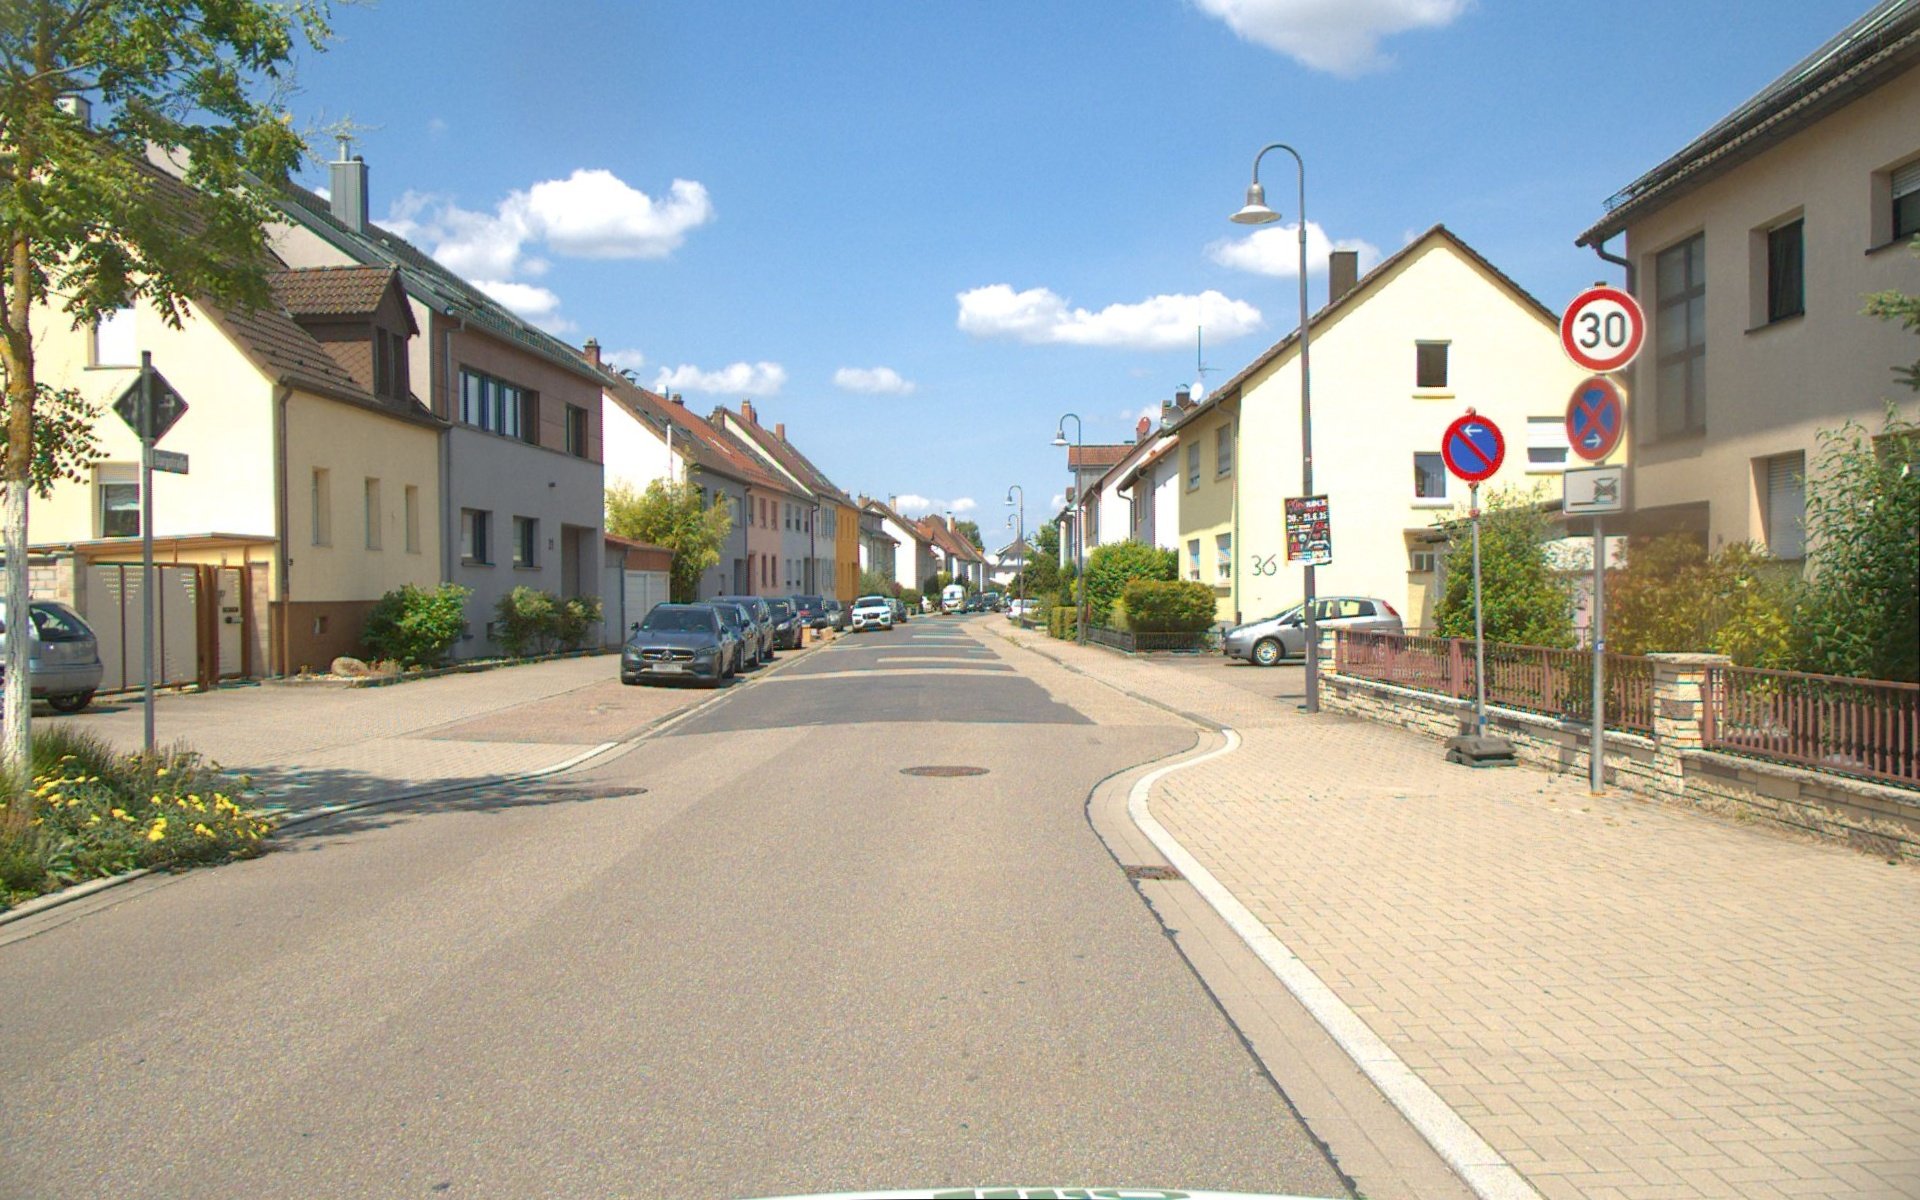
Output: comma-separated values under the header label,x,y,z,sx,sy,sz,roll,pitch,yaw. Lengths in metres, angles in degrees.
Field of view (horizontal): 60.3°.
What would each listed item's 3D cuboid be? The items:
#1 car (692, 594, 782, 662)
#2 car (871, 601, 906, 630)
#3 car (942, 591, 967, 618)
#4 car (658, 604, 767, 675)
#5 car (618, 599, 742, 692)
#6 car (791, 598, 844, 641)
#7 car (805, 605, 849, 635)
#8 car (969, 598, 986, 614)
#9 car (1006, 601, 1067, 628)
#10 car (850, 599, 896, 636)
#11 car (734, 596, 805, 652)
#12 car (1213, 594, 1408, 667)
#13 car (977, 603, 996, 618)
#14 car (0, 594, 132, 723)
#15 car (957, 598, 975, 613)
label,x,y,z,sx,sy,sz,roll,pitch,yaw
car,-5.725,0.701,42.830,1.743,1.637,4.000,2,0,0
car,-4.371,0.940,101.607,1.811,1.688,4.001,2,0,2
car,-0.518,0.420,150.485,2.002,2.352,3.772,1,-1,3
car,-5.488,0.837,37.160,1.779,1.459,4.139,2,0,0
car,-5.260,0.809,31.536,1.780,1.458,4.137,3,1,-3
car,-5.752,0.767,67.295,1.774,1.637,4.000,2,0,0
car,-6.358,0.963,79.458,1.637,1.359,3.723,2,0,2
car,1.871,0.689,179.923,1.656,1.689,3.772,1,-1,3
car,4.455,0.838,96.418,3.451,1.490,1.628,1,-1,0
car,-4.207,0.822,80.466,1.811,1.688,4.001,2,0,2
car,-6.003,0.742,52.510,1.743,1.637,4.000,2,0,0
car,7.641,0.658,36.291,3.905,1.499,1.746,-1,0,-1
car,2.567,0.969,157.414,1.656,1.365,3.772,1,-1,3
car,-12.492,0.672,20.577,3.451,1.496,1.792,1,0,3
car,0.647,0.580,172.436,1.656,1.530,3.772,1,-1,3
